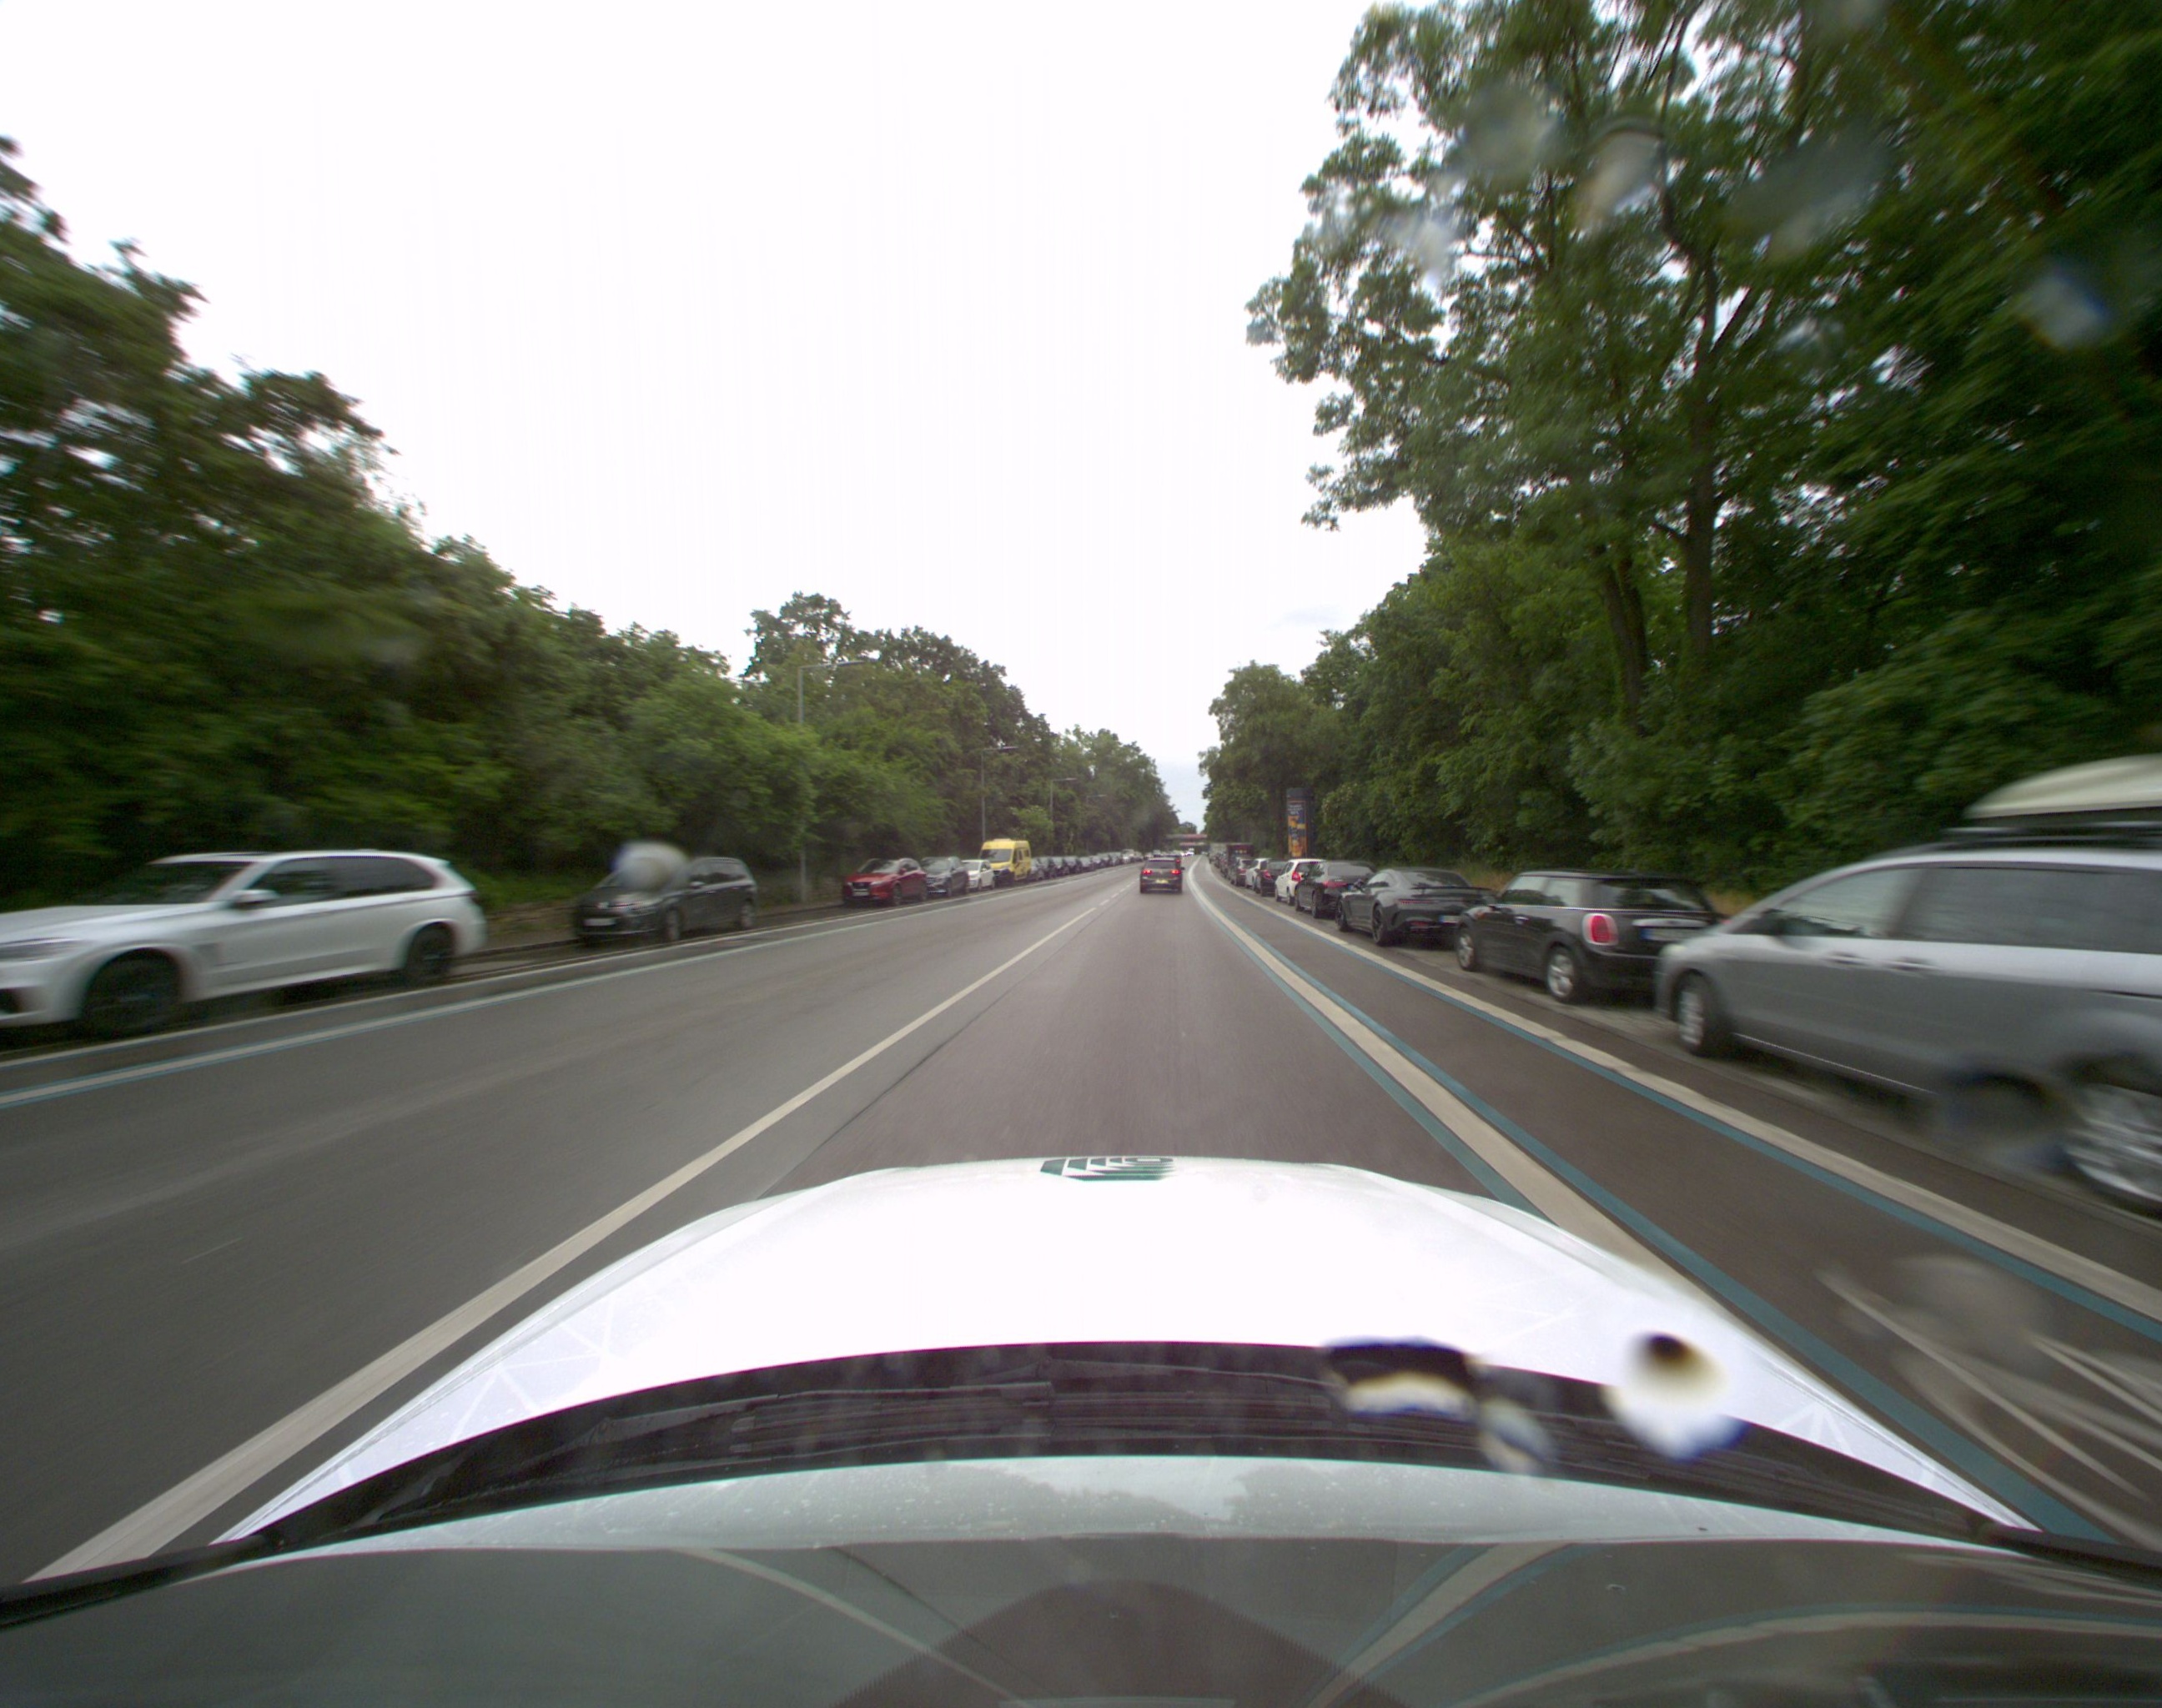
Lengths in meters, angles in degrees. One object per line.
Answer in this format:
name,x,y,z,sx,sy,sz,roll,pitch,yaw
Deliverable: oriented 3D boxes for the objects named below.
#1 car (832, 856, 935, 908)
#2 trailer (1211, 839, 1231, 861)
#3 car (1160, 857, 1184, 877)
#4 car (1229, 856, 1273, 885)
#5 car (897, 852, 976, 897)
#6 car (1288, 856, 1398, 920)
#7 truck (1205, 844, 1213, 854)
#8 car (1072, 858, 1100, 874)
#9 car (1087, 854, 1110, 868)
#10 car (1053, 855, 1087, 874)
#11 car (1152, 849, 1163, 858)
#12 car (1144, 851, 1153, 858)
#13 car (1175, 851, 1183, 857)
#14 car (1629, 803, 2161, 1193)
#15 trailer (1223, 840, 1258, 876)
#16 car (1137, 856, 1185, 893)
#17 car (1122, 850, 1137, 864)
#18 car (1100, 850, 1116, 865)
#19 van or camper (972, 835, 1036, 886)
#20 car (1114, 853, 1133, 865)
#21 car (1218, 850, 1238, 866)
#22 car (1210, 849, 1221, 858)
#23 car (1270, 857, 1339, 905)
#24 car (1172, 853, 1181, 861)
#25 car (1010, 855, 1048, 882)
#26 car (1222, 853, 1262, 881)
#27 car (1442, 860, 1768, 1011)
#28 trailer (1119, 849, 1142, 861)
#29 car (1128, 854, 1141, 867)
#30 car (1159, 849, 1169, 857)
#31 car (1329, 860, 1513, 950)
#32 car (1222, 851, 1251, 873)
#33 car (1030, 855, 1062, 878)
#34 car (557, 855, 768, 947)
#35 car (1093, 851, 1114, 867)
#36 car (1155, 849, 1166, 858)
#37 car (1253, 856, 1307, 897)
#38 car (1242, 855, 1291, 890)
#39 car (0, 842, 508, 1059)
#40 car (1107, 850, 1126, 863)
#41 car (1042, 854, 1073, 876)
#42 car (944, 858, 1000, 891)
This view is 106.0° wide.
car,-6.809,0.916,28.631,1.908,1.617,4.500,-2,0,8
trailer,17.053,-0.503,99.480,2.121,2.560,4.305,-1,0,6
car,7.422,1.051,67.026,1.872,1.466,4.006,1,1,5
car,8.774,0.823,42.316,1.743,1.393,4.452,1,0,5
car,-5.935,0.797,34.127,1.983,1.700,4.624,-1,0,6
car,6.729,0.807,21.415,1.847,1.455,4.759,0,0,6
truck,34.855,-1.355,221.737,2.100,2.599,4.311,-1,0,9
car,0.455,1.003,70.727,1.859,1.304,4.480,-1,0,8
car,1.767,0.692,80.294,1.686,1.300,4.202,-1,0,8
car,-0.860,0.803,65.722,1.981,1.452,4.150,-1,0,9
car,17.551,-0.053,187.747,2.146,2.013,5.044,-1,0,9
car,13.652,0.084,163.775,1.663,1.513,3.638,0,1,8
car,25.594,-0.043,212.214,1.812,1.706,3.866,0,0,8
car,5.479,0.614,4.809,1.814,1.615,4.256,1,0,3
trailer,10.379,0.240,53.277,1.895,2.247,4.778,-1,0,7
car,3.412,0.837,34.359,1.862,1.441,4.303,1,-1,6
car,7.121,0.395,119.179,1.930,2.013,4.747,-1,0,6
car,3.009,0.392,89.742,1.453,1.571,2.990,-1,0,7
van or camper,-4.178,0.339,45.281,2.131,2.627,5.697,-1,0,9
car,5.701,0.674,108.844,1.982,1.488,4.479,-1,0,9
car,13.729,0.349,76.441,1.672,1.481,4.328,0,1,8
car,24.366,-0.045,147.520,1.886,1.606,4.010,-1,0,9
car,7.294,0.825,26.879,1.552,1.460,3.681,0,0,5
car,20.703,0.737,175.982,1.812,1.706,3.866,0,0,8
car,-3.209,0.882,50.895,1.671,1.498,4.156,-2,0,6
car,9.344,0.727,47.557,1.813,1.485,4.206,1,0,5
car,5.902,0.800,9.759,1.689,1.413,3.707,1,0,3
trailer,7.597,0.150,124.201,1.610,1.628,3.696,-1,0,39
car,8.517,0.971,129.664,1.930,2.013,4.747,-1,0,6
car,21.718,-0.283,212.680,2.146,2.013,5.044,-1,0,9
car,6.091,0.824,15.185,1.845,1.399,4.389,1,0,4
car,11.155,0.552,58.624,1.785,1.450,4.437,-1,0,7
car,-2.393,0.848,56.071,1.593,1.510,3.147,-1,0,9
car,-8.451,0.855,16.991,1.723,1.649,4.577,0,0,5
car,2.368,0.484,85.328,1.686,1.584,4.149,-1,0,8
car,19.121,-0.159,195.633,2.146,2.013,5.044,-1,0,9
car,7.867,0.839,32.533,1.650,1.465,3.908,1,0,7
car,8.477,0.816,37.545,1.610,1.466,4.004,0,0,4
car,-9.435,0.800,9.192,1.983,1.765,4.970,-1,0,7
car,4.537,0.333,102.433,1.868,1.561,4.479,-1,0,9
car,-1.750,0.809,61.394,1.593,1.510,3.987,-1,0,9
car,-5.157,0.952,38.997,1.608,1.448,3.666,-2,0,8
